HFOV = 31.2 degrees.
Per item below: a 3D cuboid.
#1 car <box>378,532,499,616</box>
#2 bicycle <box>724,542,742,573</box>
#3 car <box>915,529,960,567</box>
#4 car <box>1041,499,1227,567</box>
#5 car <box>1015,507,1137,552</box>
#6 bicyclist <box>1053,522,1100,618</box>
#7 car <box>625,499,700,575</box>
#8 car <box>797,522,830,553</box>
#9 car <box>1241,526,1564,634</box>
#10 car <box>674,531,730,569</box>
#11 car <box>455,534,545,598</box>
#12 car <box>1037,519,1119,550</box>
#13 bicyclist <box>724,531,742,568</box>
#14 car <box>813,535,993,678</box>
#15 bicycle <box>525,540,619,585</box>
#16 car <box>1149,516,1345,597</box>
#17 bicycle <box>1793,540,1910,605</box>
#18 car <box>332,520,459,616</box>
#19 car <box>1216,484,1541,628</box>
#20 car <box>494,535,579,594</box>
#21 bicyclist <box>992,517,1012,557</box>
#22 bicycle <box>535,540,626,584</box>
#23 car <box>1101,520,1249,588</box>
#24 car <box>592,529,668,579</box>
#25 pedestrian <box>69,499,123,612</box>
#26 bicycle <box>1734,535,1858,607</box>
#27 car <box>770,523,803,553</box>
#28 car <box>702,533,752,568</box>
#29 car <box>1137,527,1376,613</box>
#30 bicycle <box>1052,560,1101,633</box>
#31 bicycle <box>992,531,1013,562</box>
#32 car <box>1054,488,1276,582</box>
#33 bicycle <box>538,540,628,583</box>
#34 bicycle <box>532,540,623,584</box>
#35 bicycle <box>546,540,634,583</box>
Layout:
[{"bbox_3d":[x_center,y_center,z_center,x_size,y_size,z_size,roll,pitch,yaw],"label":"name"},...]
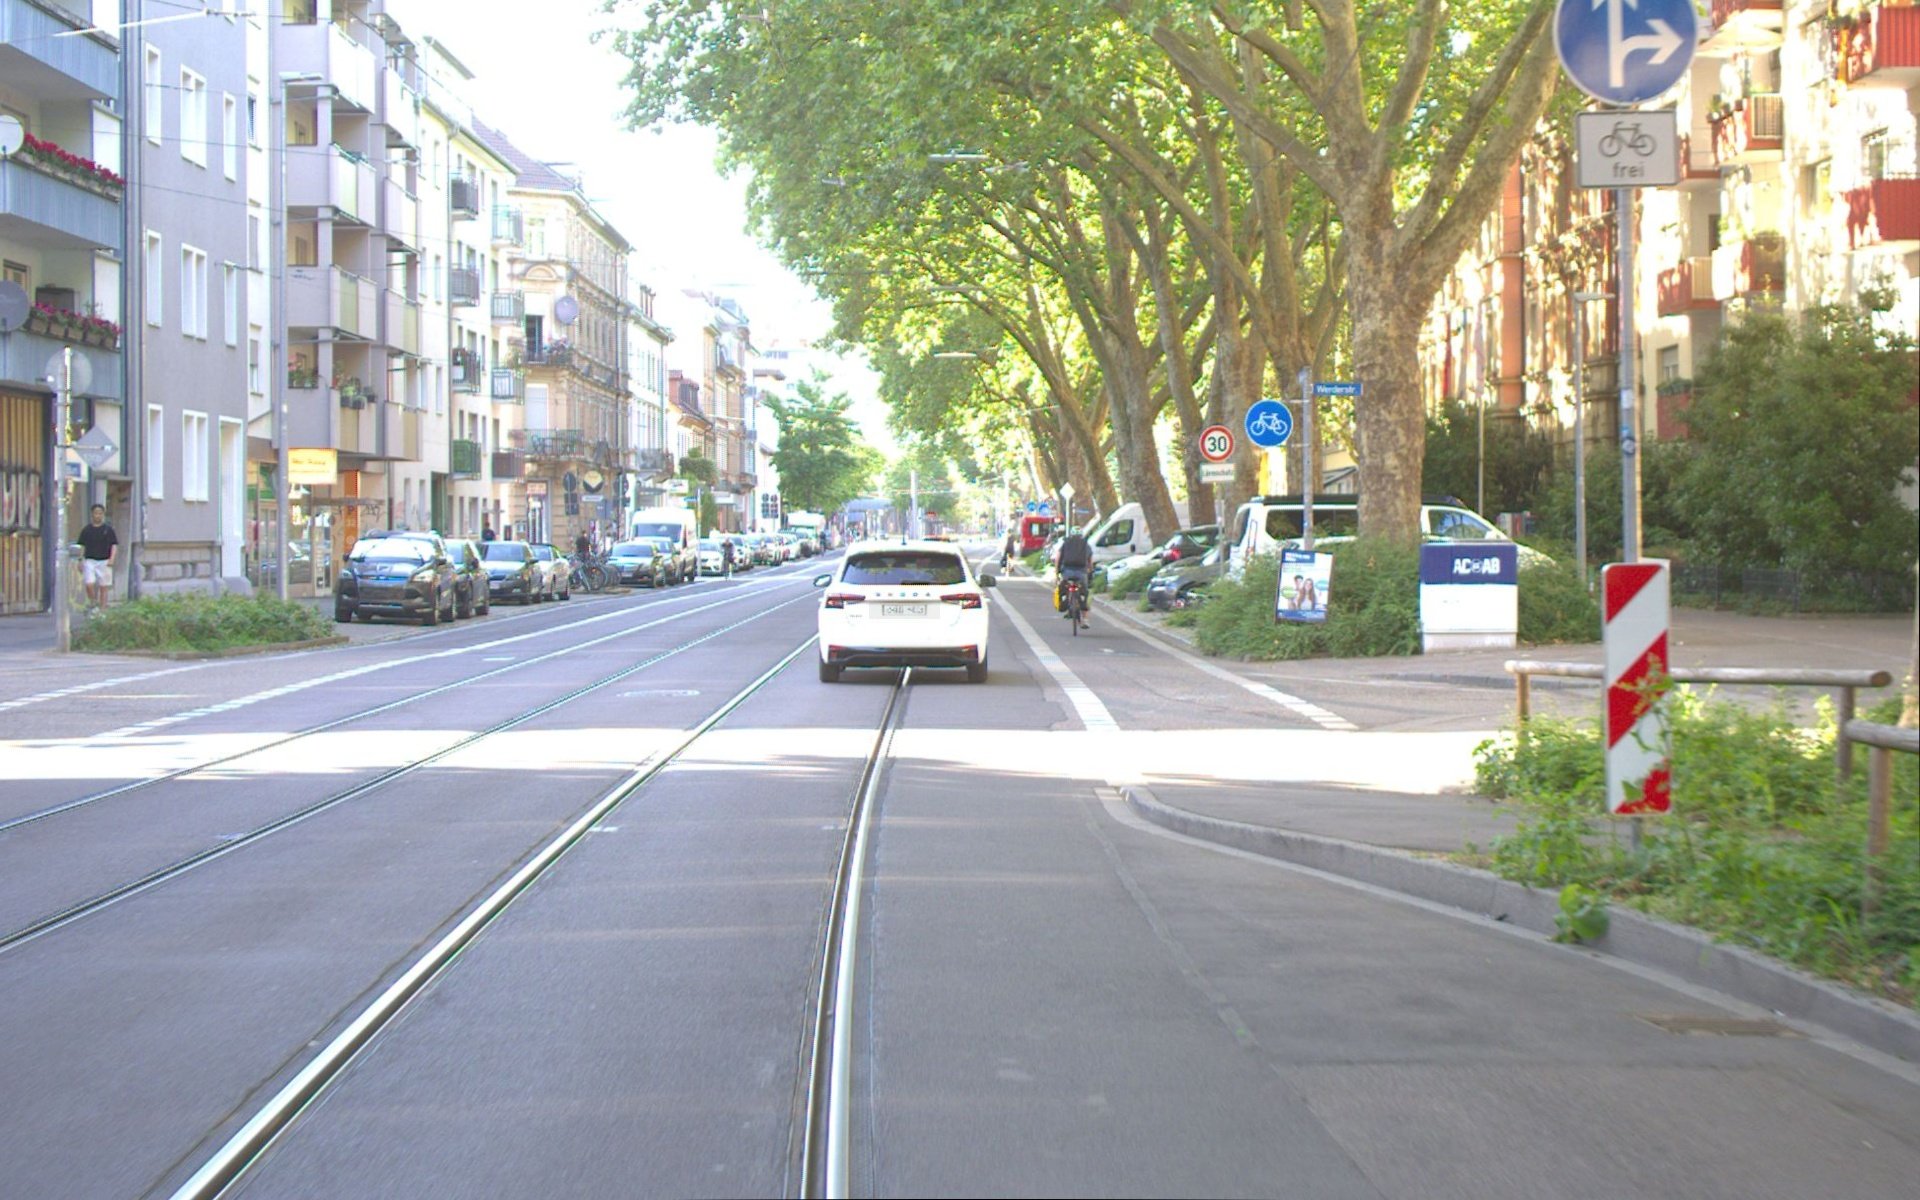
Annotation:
[{"bbox_3d":[-10.315,-0.537,68.247,1.702,1.539,4.242,2,1,0],"label":"car"},{"bbox_3d":[-8.048,-1.497,121.746,0.605,1.067,1.583,-1,1,-3],"label":"bicycle"},{"bbox_3d":[-0.910,-2.120,139.296,1.761,1.470,4.000,-1,1,0],"label":"car"},{"bbox_3d":[5.870,-2.274,116.728,6.130,2.274,2.529,0,1,-2],"label":"car"},{"bbox_3d":[5.947,-3.647,176.943,6.130,2.274,2.529,0,1,-2],"label":"car"},{"bbox_3d":[1.765,-0.458,52.348,0.678,1.438,1.047,-1,1,1],"label":"bicyclist"},{"bbox_3d":[-10.341,-2.188,119.778,2.178,2.588,4.949,0,1,0],"label":"car"},{"bbox_3d":[-9.526,-4.067,223.679,1.993,2.007,4.000,0,1,0],"label":"car"},{"bbox_3d":[6.206,-0.292,48.554,4.297,1.474,1.831,0,1,-1],"label":"car"},{"bbox_3d":[-10.487,-2.062,140.115,1.993,1.525,4.000,0,1,0],"label":"car"},{"bbox_3d":[-10.514,-0.794,78.741,1.653,1.432,3.837,0,1,-2],"label":"car"},{"bbox_3d":[5.912,-3.285,172.256,4.049,1.535,2.000,0,1,0],"label":"car"},{"bbox_3d":[-8.046,-1.784,121.755,0.597,1.281,0.917,-1,1,-3],"label":"bicyclist"},{"bbox_3d":[-0.614,0.028,35.838,1.761,1.379,4.000,-1,1,-1],"label":"car"},{"bbox_3d":[-10.834,-1.050,96.039,2.525,1.168,0.883,2,-1,-40],"label":"bicycle"},{"bbox_3d":[6.090,-0.932,73.255,3.987,1.674,1.724,0,1,-1],"label":"car"},{"bbox_3d":[15.157,-0.478,58.494,1.791,1.038,0.618,-2,1,-4],"label":"bicycle"},{"bbox_3d":[-10.350,-0.611,63.259,1.702,1.645,4.242,2,1,-2],"label":"car"},{"bbox_3d":[6.181,-0.665,51.126,4.543,2.069,2.001,0,1,-2],"label":"car"},{"bbox_3d":[-10.406,-0.884,84.671,1.485,1.398,3.990,0,1,2],"label":"car"},{"bbox_3d":[1.435,-2.151,117.375,0.649,1.339,0.934,-1,1,-2],"label":"bicyclist"},{"bbox_3d":[-10.793,-1.081,97.807,2.524,1.168,0.719,2,-1,-5],"label":"bicycle"},{"bbox_3d":[5.352,-1.148,85.870,3.634,1.660,1.822,0,1,2],"label":"car"},{"bbox_3d":[-10.355,-1.464,108.064,1.993,1.525,4.000,0,1,0],"label":"car"},{"bbox_3d":[-14.096,-0.726,56.116,0.663,1.820,0.965,0,1,-2],"label":"pedestrian"},{"bbox_3d":[14.242,-0.505,58.564,1.944,1.153,0.572,-2,1,-7],"label":"bicycle"},{"bbox_3d":[-11.881,-4.235,235.514,1.993,2.007,4.000,1,1,0],"label":"car"},{"bbox_3d":[-10.429,-2.231,154.077,1.993,1.525,4.000,0,1,0],"label":"car"},{"bbox_3d":[5.344,-0.556,62.347,4.142,1.509,1.931,0,1,-1],"label":"car"},{"bbox_3d":[1.765,-0.061,52.235,0.681,1.067,1.781,-1,1,0],"label":"bicycle"},{"bbox_3d":[1.444,-1.826,117.364,0.649,1.067,1.583,-1,1,-2],"label":"bicycle"},{"bbox_3d":[5.814,-1.847,98.111,6.130,2.626,2.529,0,1,-2],"label":"car"},{"bbox_3d":[-10.822,-1.104,98.795,2.524,1.168,0.719,2,-1,-5],"label":"bicycle"},{"bbox_3d":[-10.775,-1.063,96.921,2.524,1.168,0.719,2,-1,-6],"label":"bicycle"},{"bbox_3d":[-10.827,-1.135,100.699,2.524,1.168,0.719,2,-1,-6],"label":"bicycle"}]
